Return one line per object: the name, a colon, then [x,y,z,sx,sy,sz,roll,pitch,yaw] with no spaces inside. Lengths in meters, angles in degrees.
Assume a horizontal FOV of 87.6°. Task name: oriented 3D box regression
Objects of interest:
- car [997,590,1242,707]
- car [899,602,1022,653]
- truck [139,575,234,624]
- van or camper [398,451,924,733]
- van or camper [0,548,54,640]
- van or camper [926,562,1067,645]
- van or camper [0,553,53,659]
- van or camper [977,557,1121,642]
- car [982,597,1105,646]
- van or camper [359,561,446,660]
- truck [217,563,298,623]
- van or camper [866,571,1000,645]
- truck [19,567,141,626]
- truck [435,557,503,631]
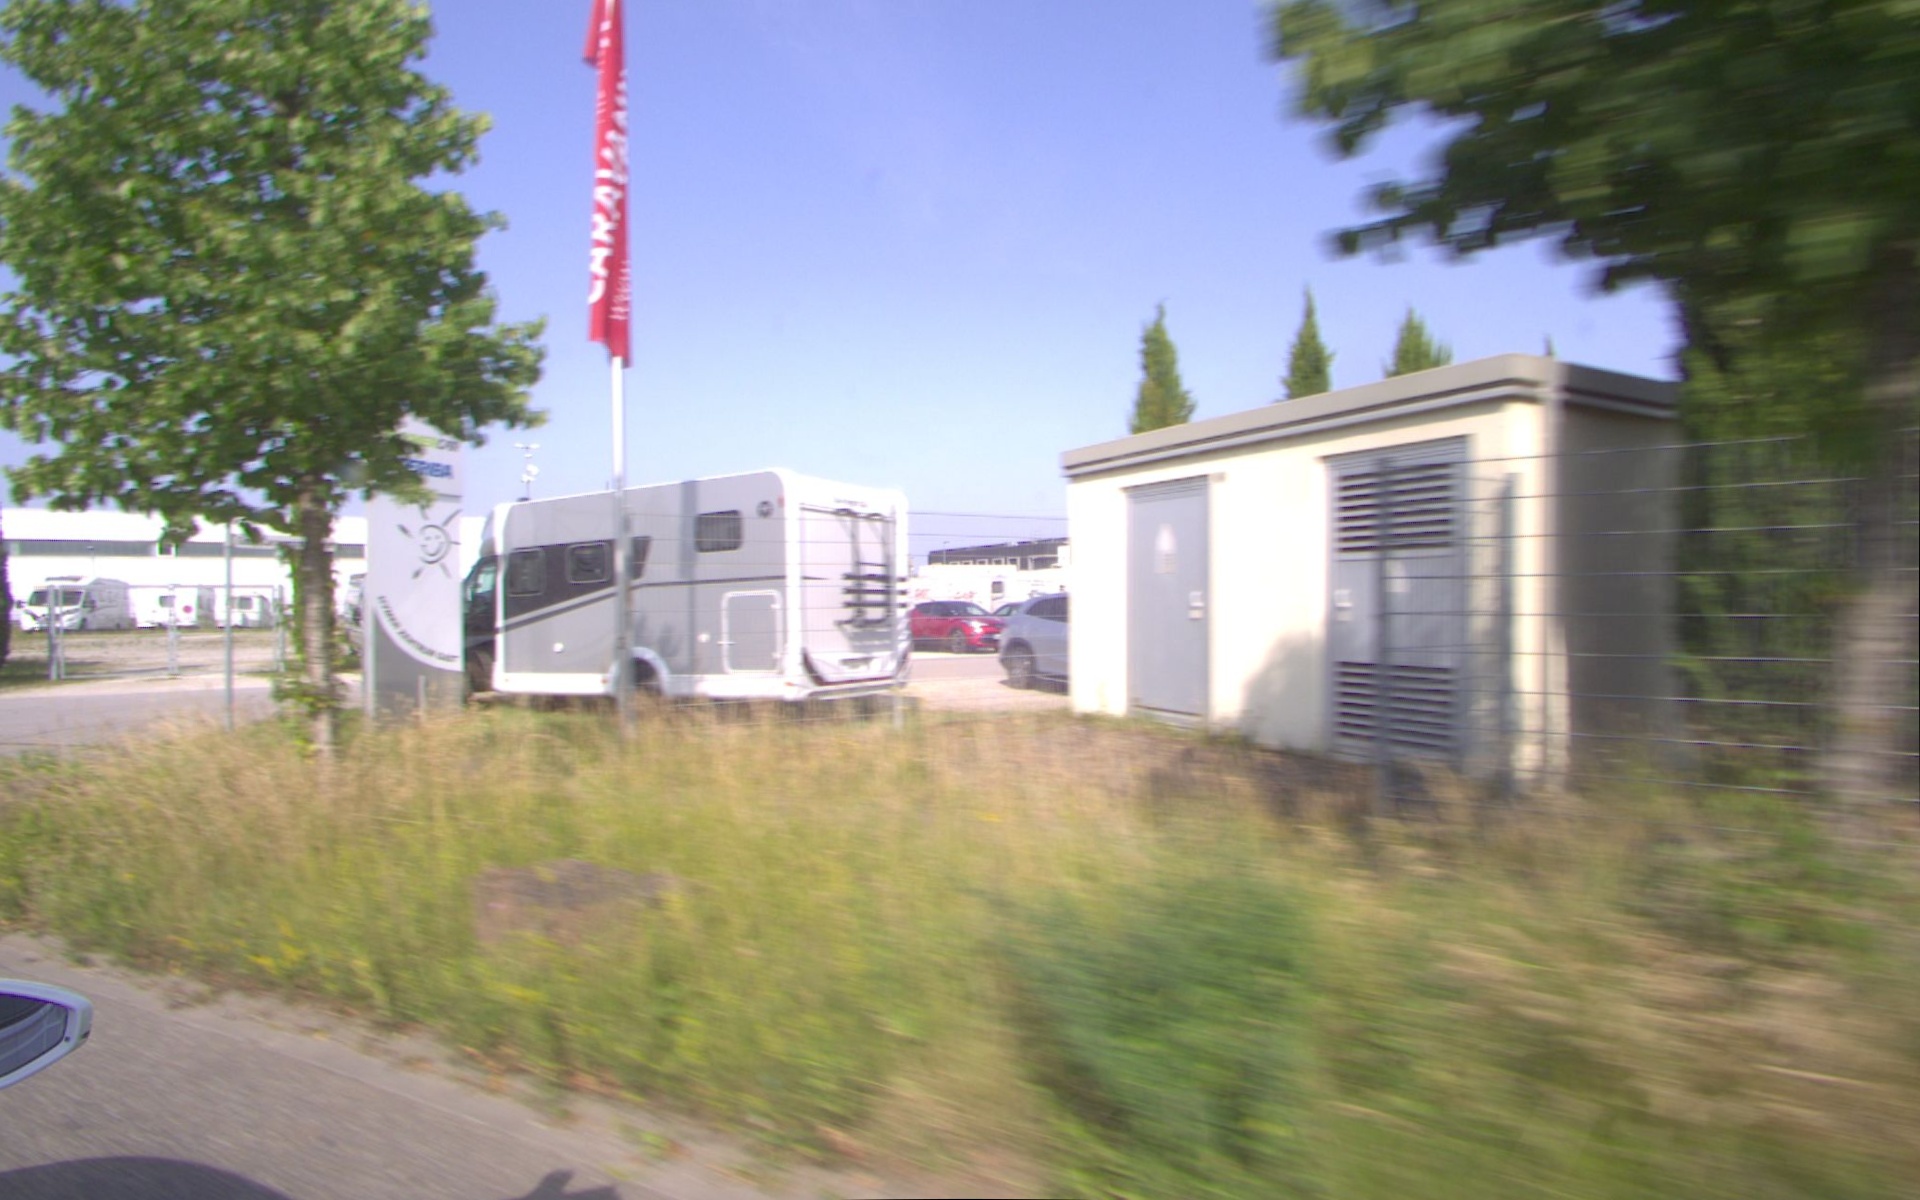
car: [2.475,0.702,16.426,1.706,1.665,3.973,1,0,-34]
car: [-0.064,0.789,29.786,1.694,1.397,3.972,2,-1,-35]
truck: [-38.934,-0.031,50.662,2.422,2.295,7.963,0,0,-28]
van or camper: [-4.133,-0.065,13.136,7.232,2.885,2.346,0,0,31]
van or camper: [-34.691,-0.236,34.873,2.916,3.125,7.928,0,1,-29]
van or camper: [1.251,0.173,38.643,2.295,2.901,6.574,0,0,-31]
van or camper: [-24.880,0.135,24.502,2.455,2.593,6.591,0,1,-29]
van or camper: [3.468,0.032,40.749,2.457,3.170,6.574,0,0,-31]
car: [2.539,0.644,31.268,1.694,1.397,3.972,2,-1,-35]
van or camper: [-16.321,0.263,29.171,1.972,2.568,6.115,-1,1,-31]
truck: [-36.330,-0.337,52.047,2.422,2.864,7.963,0,0,-28]
van or camper: [-1.174,0.303,38.033,2.194,2.558,6.574,0,0,-31]
truck: [-40.737,-0.136,46.623,2.422,2.504,7.963,0,0,-28]
truck: [-21.308,-0.245,43.264,2.422,2.883,7.963,0,0,-28]
